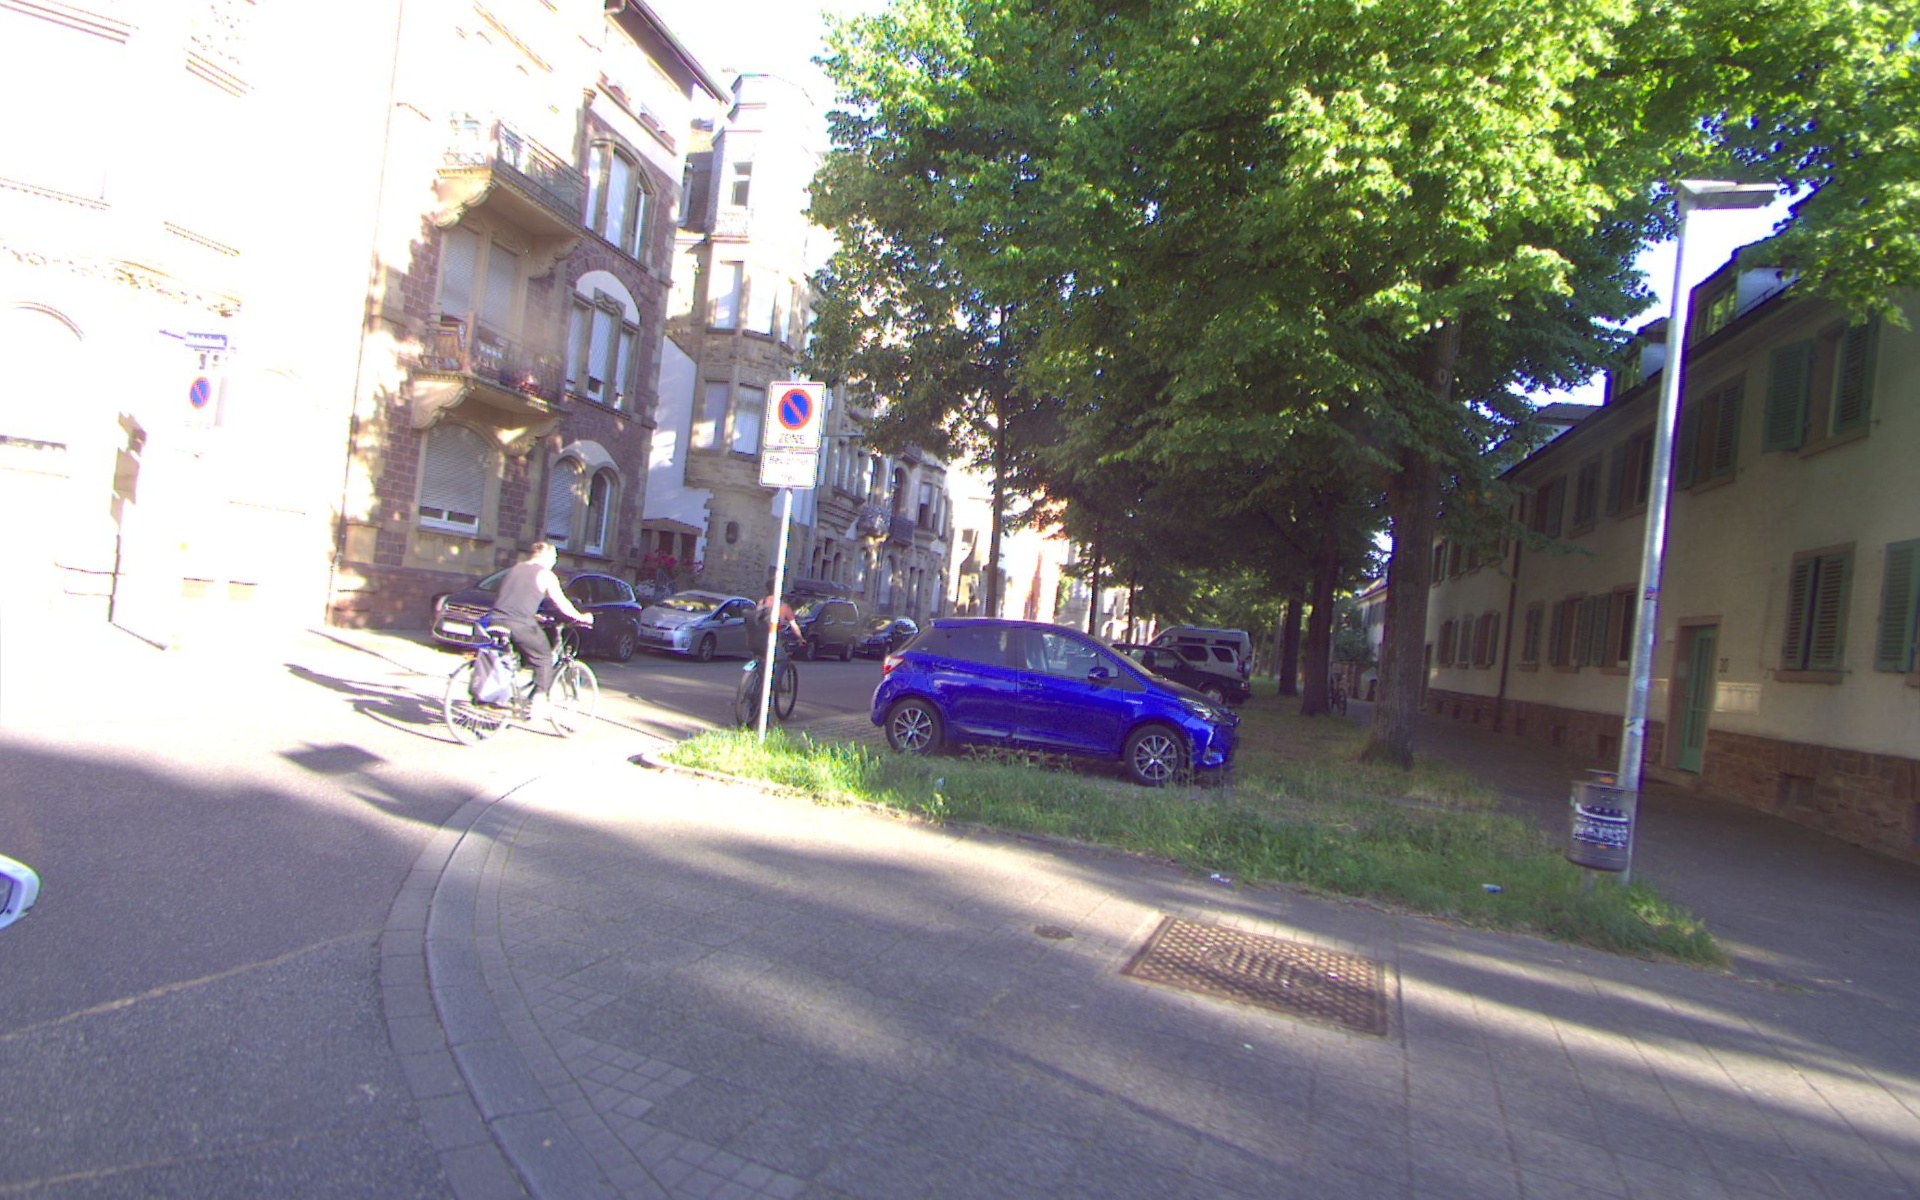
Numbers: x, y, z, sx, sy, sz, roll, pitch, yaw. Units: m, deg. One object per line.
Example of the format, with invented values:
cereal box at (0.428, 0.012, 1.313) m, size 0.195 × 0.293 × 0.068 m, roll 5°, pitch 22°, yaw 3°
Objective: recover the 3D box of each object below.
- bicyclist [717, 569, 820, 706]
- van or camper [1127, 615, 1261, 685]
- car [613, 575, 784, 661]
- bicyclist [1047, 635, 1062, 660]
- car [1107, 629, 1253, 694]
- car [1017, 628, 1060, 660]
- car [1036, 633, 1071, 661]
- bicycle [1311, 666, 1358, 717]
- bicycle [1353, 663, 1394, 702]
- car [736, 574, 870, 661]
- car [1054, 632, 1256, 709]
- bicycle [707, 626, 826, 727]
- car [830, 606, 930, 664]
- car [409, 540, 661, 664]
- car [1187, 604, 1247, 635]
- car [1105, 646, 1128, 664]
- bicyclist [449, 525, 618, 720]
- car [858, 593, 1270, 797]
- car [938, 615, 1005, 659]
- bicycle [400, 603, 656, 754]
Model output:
bicyclist at (-2.329, 0.473, 12.340) m, size 0.707 × 1.544 × 0.973 m, roll 7°, pitch -2°, yaw 15°
van or camper at (10.369, 2.223, 44.668) m, size 5.485 × 2.566 × 2.271 m, roll 4°, pitch -2°, yaw 14°
car at (-5.737, 0.470, 22.706) m, size 1.702 × 1.516 × 4.459 m, roll 8°, pitch -1°, yaw 13°
bicyclist at (5.448, 2.721, 58.086) m, size 0.654 × 1.362 × 1.061 m, roll 5°, pitch 0°, yaw 12°
car at (7.160, 1.976, 32.826) m, size 4.404 × 1.690 × 1.943 m, roll 4°, pitch -1°, yaw 14°
car at (4.938, 2.768, 62.750) m, size 1.728 × 1.534 × 4.119 m, roll 11°, pitch -1°, yaw 15°
car at (6.230, 3.143, 66.952) m, size 1.468 × 1.534 × 3.779 m, roll 11°, pitch -1°, yaw 15°
bicycle at (9.907, 2.400, 26.656) m, size 0.618 × 1.177 × 1.936 m, roll 7°, pitch -1°, yaw 8°
bicycle at (16.955, 3.377, 41.330) m, size 0.787 × 1.416 × 2.006 m, roll 7°, pitch -1°, yaw 3°
car at (-4.283, 0.564, 28.292) m, size 1.937 × 1.997 × 4.501 m, roll 8°, pitch -1°, yaw 13°
car at (4.987, 1.781, 25.775) m, size 4.816 × 1.458 × 1.945 m, roll 5°, pitch -3°, yaw 14°
bicycle at (-2.350, 0.949, 12.507) m, size 0.546 × 1.085 × 1.971 m, roll 7°, pitch -2°, yaw 15°
car at (-2.634, 1.268, 34.582) m, size 1.702 × 1.592 × 4.714 m, roll 7°, pitch -3°, yaw 17°
car at (-7.215, 0.150, 17.626) m, size 1.702 × 1.640 × 4.265 m, roll 8°, pitch -2°, yaw 14°
car at (19.465, 1.508, 76.115) m, size 4.176 × 1.861 × 1.857 m, roll 5°, pitch -2°, yaw 17°
car at (16.562, 5.830, 106.337) m, size 1.962 × 1.503 × 4.006 m, roll 7°, pitch -2°, yaw 14°
bicyclist at (-3.674, 0.214, 8.724) m, size 0.696 × 1.544 × 0.972 m, roll 6°, pitch -2°, yaw 26°
car at (1.158, 0.955, 10.830) m, size 3.923 × 1.573 × 2.003 m, roll 5°, pitch -2°, yaw 14°
car at (0.594, 1.734, 46.047) m, size 2.017 × 1.640 × 4.402 m, roll 7°, pitch -2°, yaw 13°
bicycle at (-3.627, 0.690, 8.669) m, size 0.686 × 1.085 × 1.969 m, roll 6°, pitch -2°, yaw 25°
